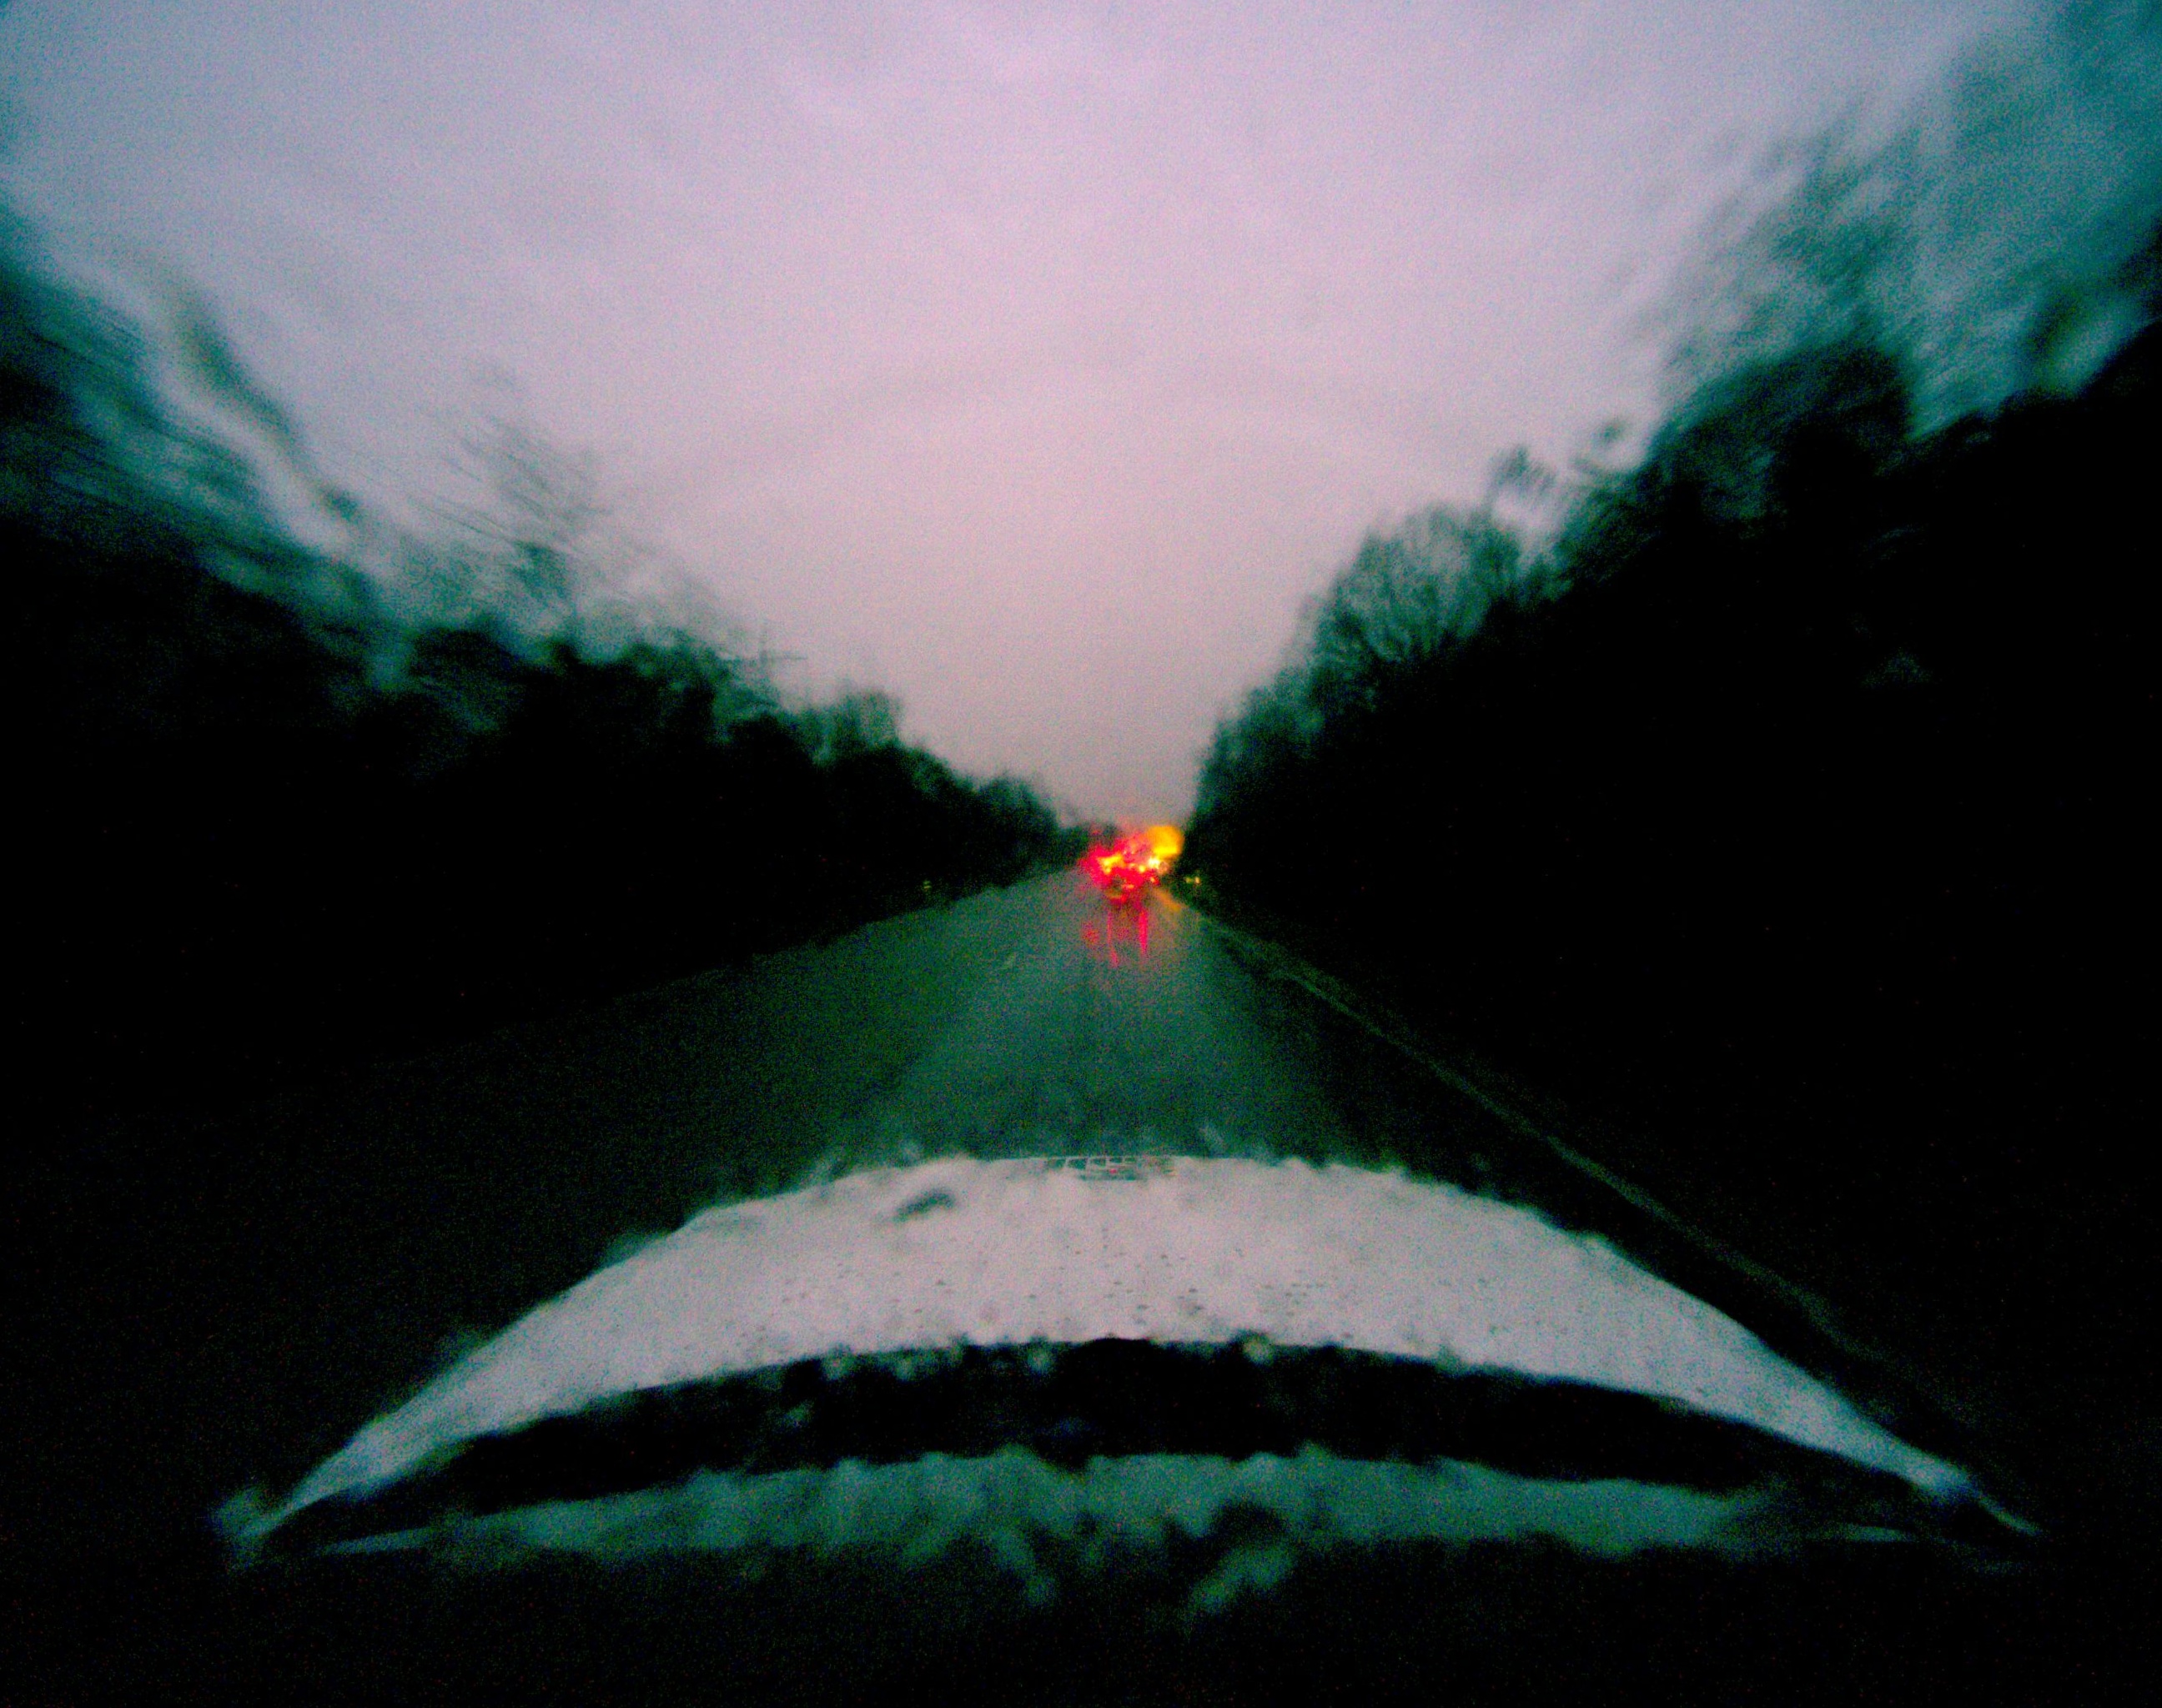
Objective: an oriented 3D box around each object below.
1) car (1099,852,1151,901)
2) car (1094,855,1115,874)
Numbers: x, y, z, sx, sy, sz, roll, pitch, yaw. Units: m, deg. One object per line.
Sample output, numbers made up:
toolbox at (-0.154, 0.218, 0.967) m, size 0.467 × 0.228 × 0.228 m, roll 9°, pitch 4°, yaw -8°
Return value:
car at (1.592, 0.775, 29.623) m, size 1.721 × 1.643 × 4.003 m, roll -1°, pitch 0°, yaw 3°
car at (2.126, 0.901, 71.812) m, size 1.721 × 1.643 × 4.003 m, roll -1°, pitch 0°, yaw 3°
